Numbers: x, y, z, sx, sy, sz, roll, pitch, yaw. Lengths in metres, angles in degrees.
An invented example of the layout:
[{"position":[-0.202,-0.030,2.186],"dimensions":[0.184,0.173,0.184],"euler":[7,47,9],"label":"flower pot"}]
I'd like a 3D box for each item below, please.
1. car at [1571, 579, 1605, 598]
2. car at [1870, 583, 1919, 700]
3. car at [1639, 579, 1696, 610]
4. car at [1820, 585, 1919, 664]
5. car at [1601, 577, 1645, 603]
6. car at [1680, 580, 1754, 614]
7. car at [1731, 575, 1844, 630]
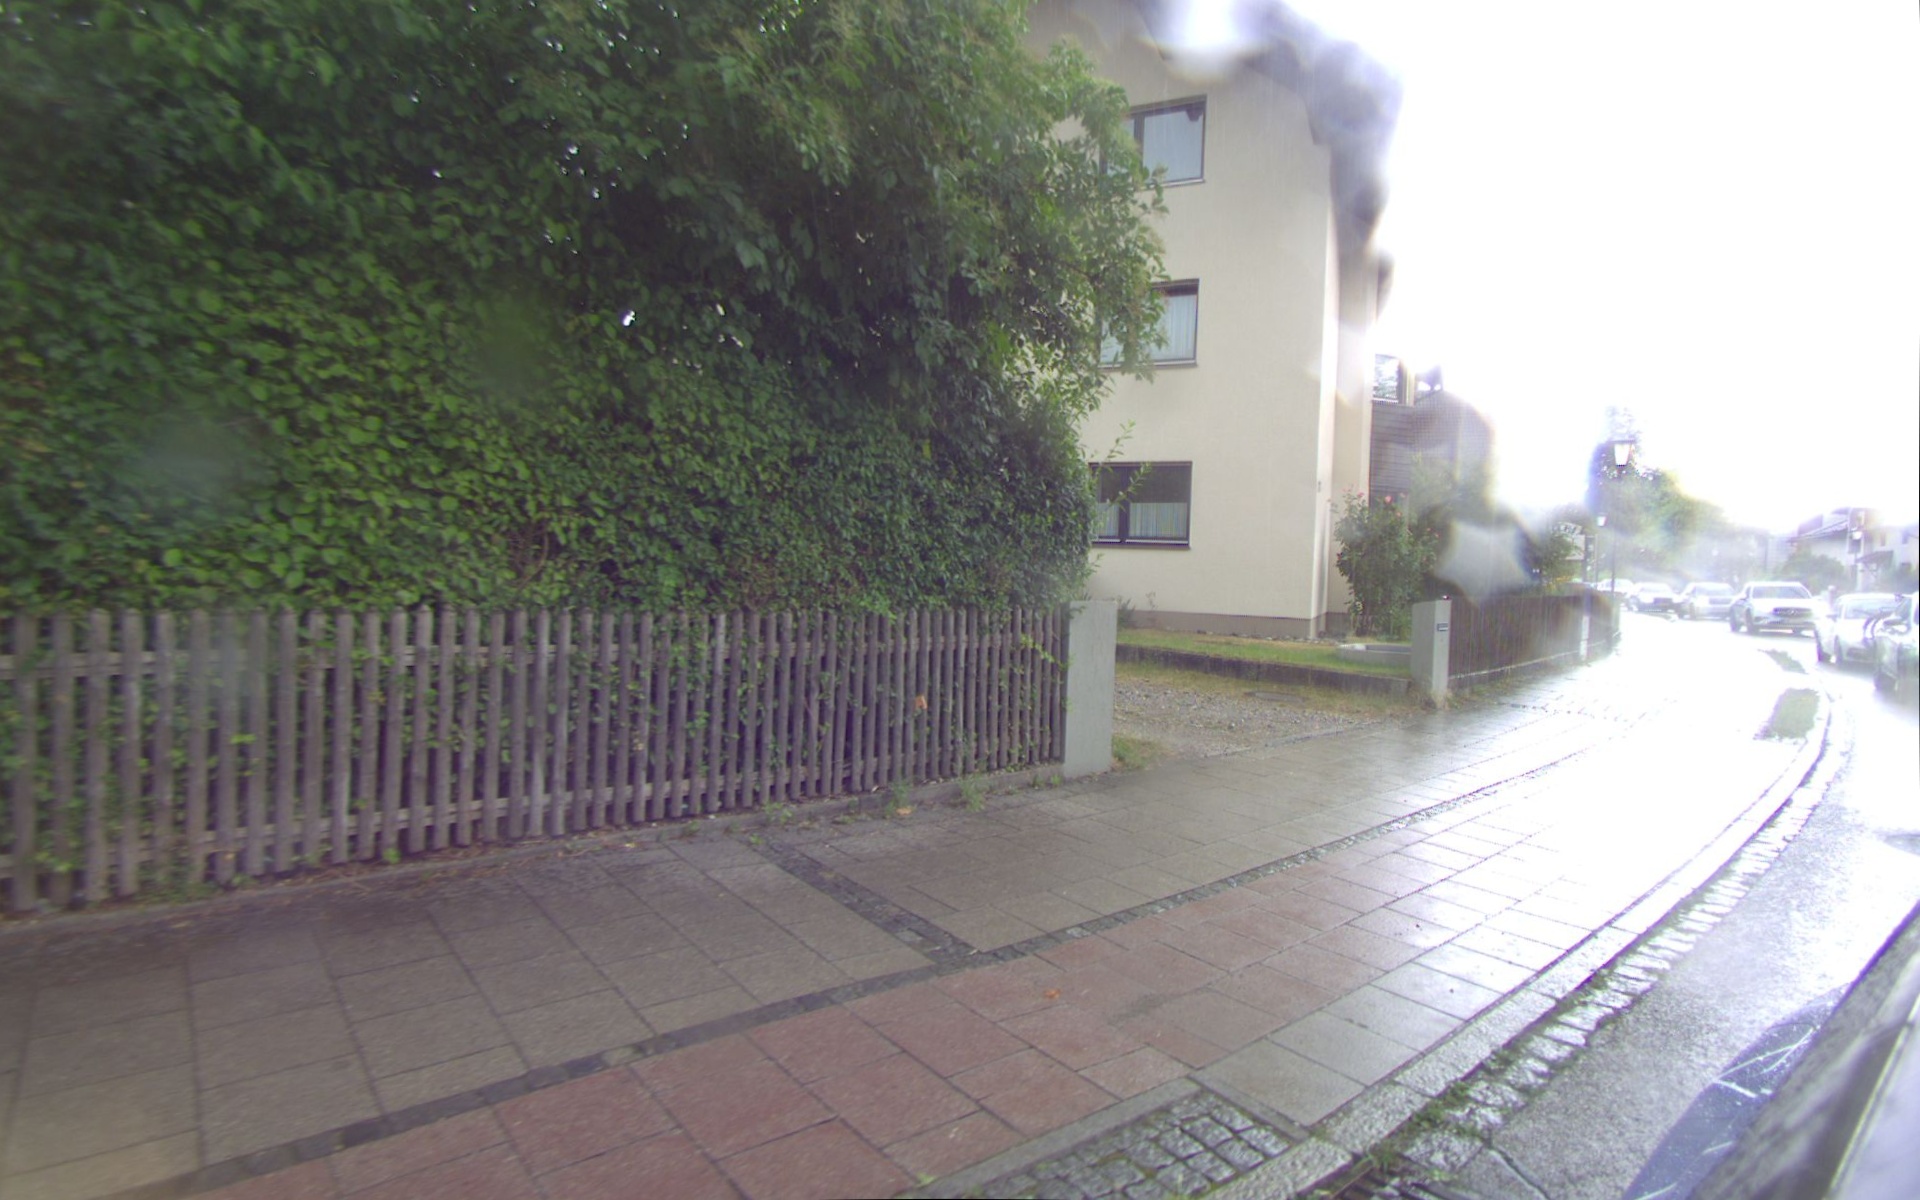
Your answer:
[{"position":[53.140,-0.993,85.702],"dimensions":[1.774,1.568,4.249],"euler":[0,1,22],"label":"car"},{"position":[14.500,0.499,14.458],"dimensions":[1.785,1.498,5.313],"euler":[0,1,37],"label":"car"},{"position":[37.241,-0.312,53.364],"dimensions":[1.777,1.568,4.243],"euler":[0,1,26],"label":"car"},{"position":[18.239,0.413,19.891],"dimensions":[1.785,1.412,4.224],"euler":[0,1,37],"label":"car"},{"position":[42.215,-0.639,64.494],"dimensions":[1.777,1.568,4.243],"euler":[0,1,26],"label":"car"},{"position":[32.710,-0.161,43.840],"dimensions":[1.777,1.391,4.243],"euler":[0,1,26],"label":"car"},{"position":[25.753,0.046,31.638],"dimensions":[1.777,1.568,4.243],"euler":[0,1,26],"label":"car"}]
